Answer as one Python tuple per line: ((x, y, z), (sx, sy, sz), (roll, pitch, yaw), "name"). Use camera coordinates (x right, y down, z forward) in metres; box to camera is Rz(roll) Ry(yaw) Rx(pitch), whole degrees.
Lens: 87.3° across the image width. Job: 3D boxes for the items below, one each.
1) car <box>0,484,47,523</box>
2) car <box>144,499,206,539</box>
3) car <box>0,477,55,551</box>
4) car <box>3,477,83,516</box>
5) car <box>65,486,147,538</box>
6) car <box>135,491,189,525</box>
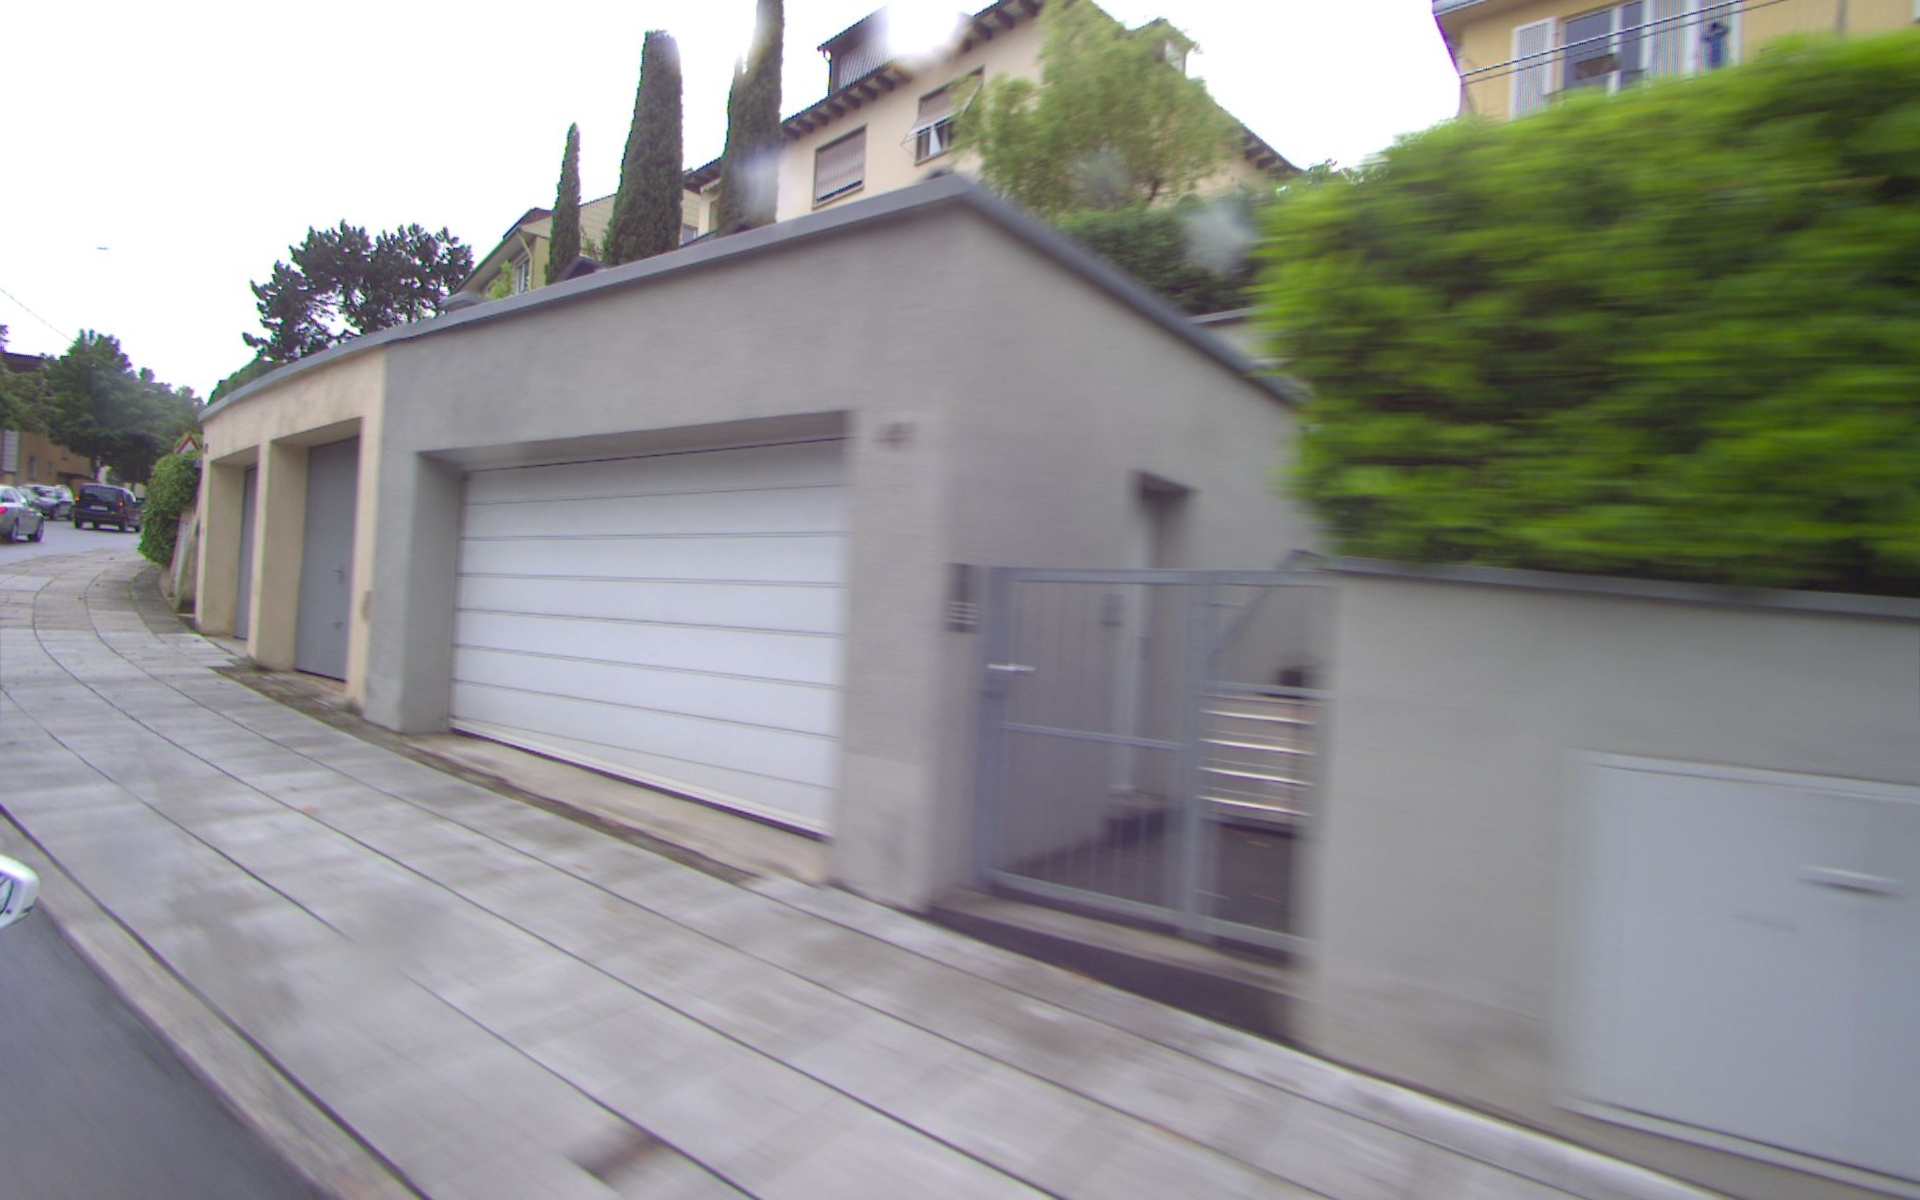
((-41.151, -4.170, 43.272), (1.752, 1.556, 4.569), (2, 3, -29), "car")
((-41.604, -4.334, 53.396), (1.719, 1.792, 4.202), (7, 2, -28), "car")
((-25.337, -2.349, 26.131), (1.962, 1.656, 4.194), (7, 2, -33), "car")
((-43.733, -4.915, 48.079), (1.750, 1.658, 4.080), (1, 4, -26), "car")
((-35.402, -3.678, 41.798), (1.720, 1.792, 4.199), (7, 2, -30), "car")
((-53.472, -6.119, 67.491), (1.772, 2.079, 4.748), (1, 4, -26), "car")
